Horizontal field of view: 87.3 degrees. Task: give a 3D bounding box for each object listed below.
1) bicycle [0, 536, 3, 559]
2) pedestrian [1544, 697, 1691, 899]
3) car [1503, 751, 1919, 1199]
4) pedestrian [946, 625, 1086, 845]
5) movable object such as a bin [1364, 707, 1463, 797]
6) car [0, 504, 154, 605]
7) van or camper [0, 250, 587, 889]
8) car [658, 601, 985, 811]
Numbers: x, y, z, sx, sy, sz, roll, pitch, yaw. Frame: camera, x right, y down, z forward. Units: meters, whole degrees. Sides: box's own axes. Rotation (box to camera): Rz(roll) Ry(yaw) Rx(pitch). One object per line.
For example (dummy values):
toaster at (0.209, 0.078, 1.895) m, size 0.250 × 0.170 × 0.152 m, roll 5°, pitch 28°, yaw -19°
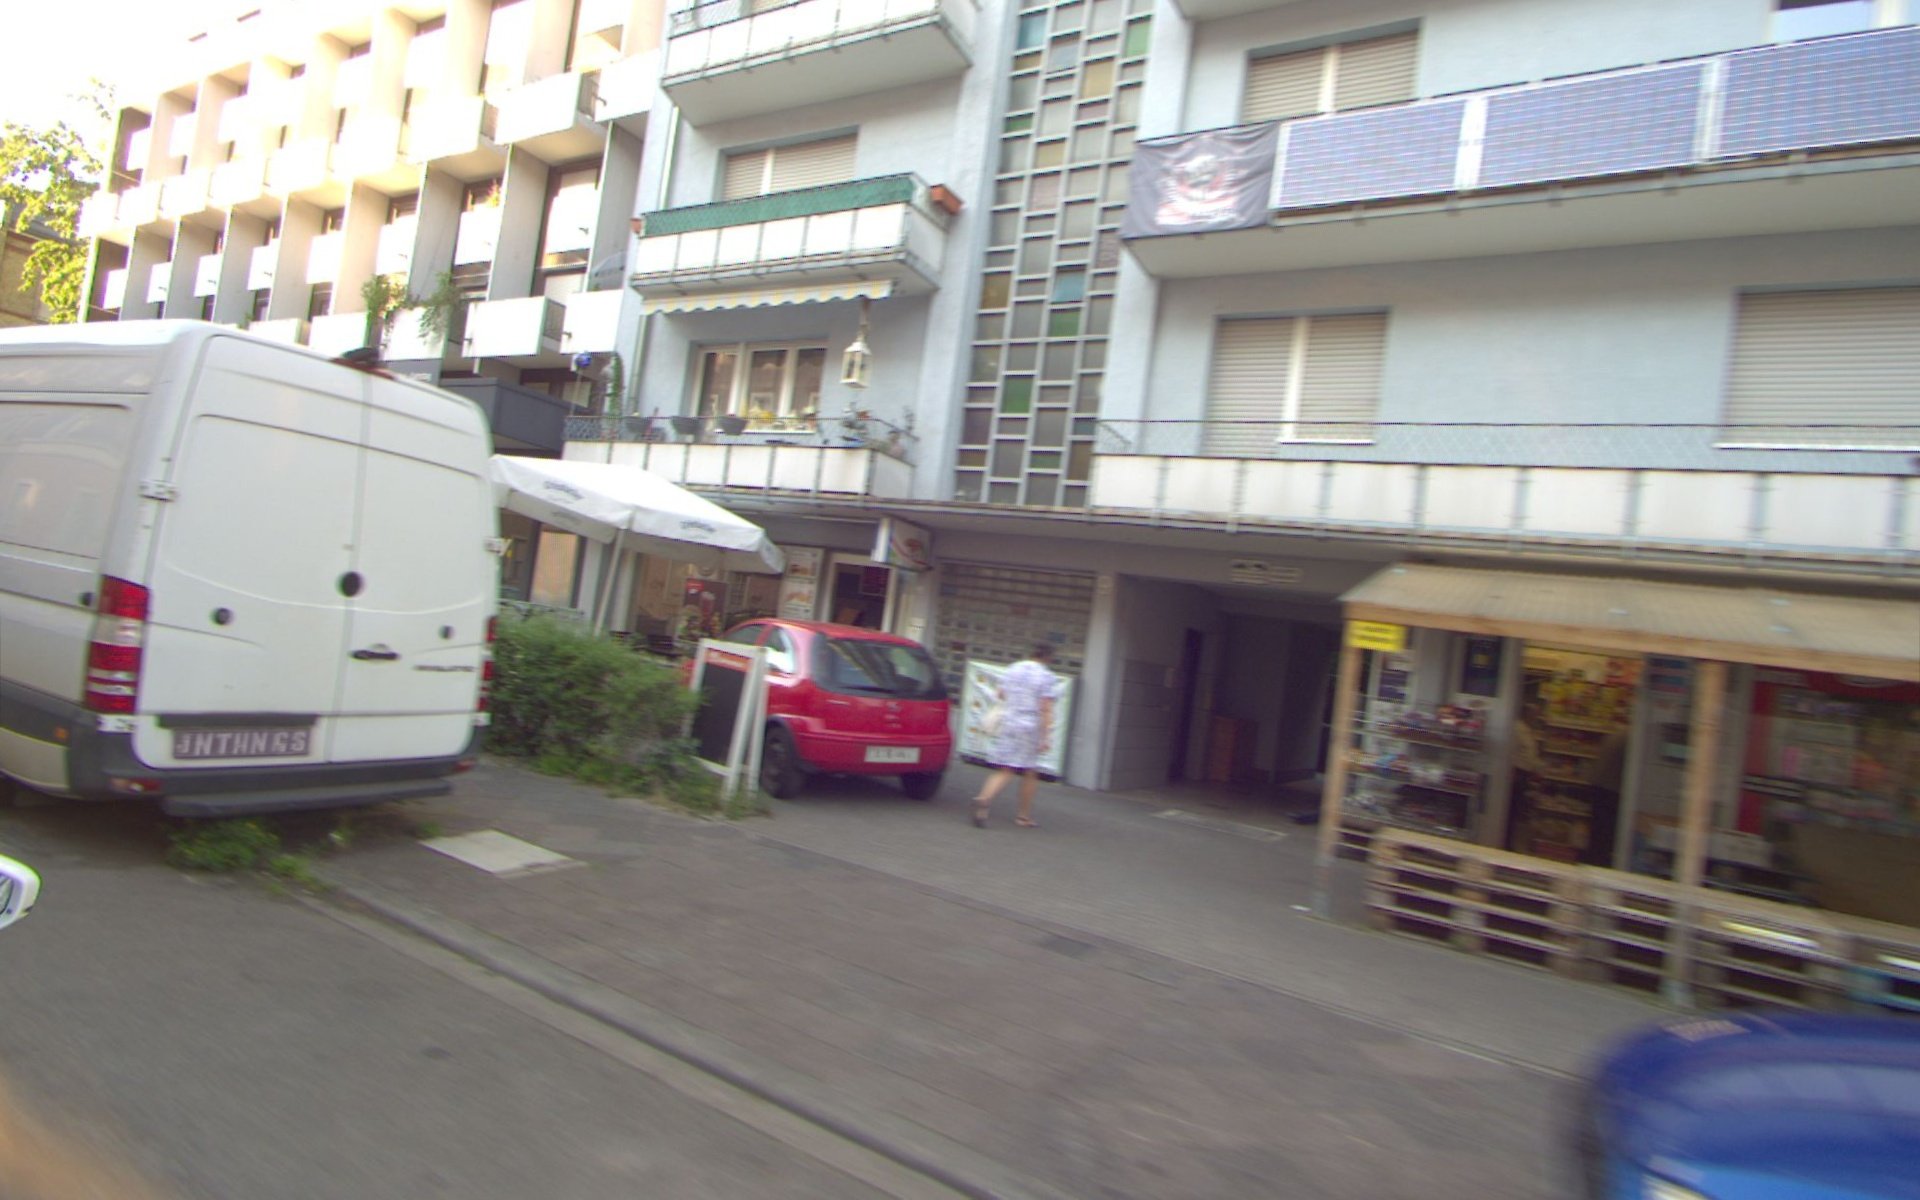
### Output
bicycle at (-15.529, -0.580, 14.816) m, size 0.668 × 1.079 × 1.902 m, roll 7°, pitch -2°, yaw 34°
pedestrian at (6.401, 1.897, 9.850) m, size 0.939 × 1.719 × 0.848 m, roll 7°, pitch -4°, yaw 27°
car at (3.192, 1.308, 1.345) m, size 4.222 × 1.404 × 1.727 m, roll 7°, pitch -1°, yaw 30°
pedestrian at (0.481, 1.046, 8.172) m, size 0.859 × 1.575 × 0.874 m, roll 7°, pitch 0°, yaw 9°
movable object such as a bin at (9.505, 3.175, 21.075) m, size 1.623 × 1.568 × 1.465 m, roll 7°, pitch -4°, yaw 30°
car at (-16.575, -0.924, 16.640) m, size 1.810 × 1.483 × 4.633 m, roll 7°, pitch -1°, yaw 31°
van or camper at (-6.067, -0.396, 6.873) m, size 7.384 × 2.632 × 2.105 m, roll 7°, pitch -2°, yaw 30°
car at (-1.434, 0.903, 9.430) m, size 1.592 × 1.432 × 3.199 m, roll 9°, pitch -3°, yaw -35°
